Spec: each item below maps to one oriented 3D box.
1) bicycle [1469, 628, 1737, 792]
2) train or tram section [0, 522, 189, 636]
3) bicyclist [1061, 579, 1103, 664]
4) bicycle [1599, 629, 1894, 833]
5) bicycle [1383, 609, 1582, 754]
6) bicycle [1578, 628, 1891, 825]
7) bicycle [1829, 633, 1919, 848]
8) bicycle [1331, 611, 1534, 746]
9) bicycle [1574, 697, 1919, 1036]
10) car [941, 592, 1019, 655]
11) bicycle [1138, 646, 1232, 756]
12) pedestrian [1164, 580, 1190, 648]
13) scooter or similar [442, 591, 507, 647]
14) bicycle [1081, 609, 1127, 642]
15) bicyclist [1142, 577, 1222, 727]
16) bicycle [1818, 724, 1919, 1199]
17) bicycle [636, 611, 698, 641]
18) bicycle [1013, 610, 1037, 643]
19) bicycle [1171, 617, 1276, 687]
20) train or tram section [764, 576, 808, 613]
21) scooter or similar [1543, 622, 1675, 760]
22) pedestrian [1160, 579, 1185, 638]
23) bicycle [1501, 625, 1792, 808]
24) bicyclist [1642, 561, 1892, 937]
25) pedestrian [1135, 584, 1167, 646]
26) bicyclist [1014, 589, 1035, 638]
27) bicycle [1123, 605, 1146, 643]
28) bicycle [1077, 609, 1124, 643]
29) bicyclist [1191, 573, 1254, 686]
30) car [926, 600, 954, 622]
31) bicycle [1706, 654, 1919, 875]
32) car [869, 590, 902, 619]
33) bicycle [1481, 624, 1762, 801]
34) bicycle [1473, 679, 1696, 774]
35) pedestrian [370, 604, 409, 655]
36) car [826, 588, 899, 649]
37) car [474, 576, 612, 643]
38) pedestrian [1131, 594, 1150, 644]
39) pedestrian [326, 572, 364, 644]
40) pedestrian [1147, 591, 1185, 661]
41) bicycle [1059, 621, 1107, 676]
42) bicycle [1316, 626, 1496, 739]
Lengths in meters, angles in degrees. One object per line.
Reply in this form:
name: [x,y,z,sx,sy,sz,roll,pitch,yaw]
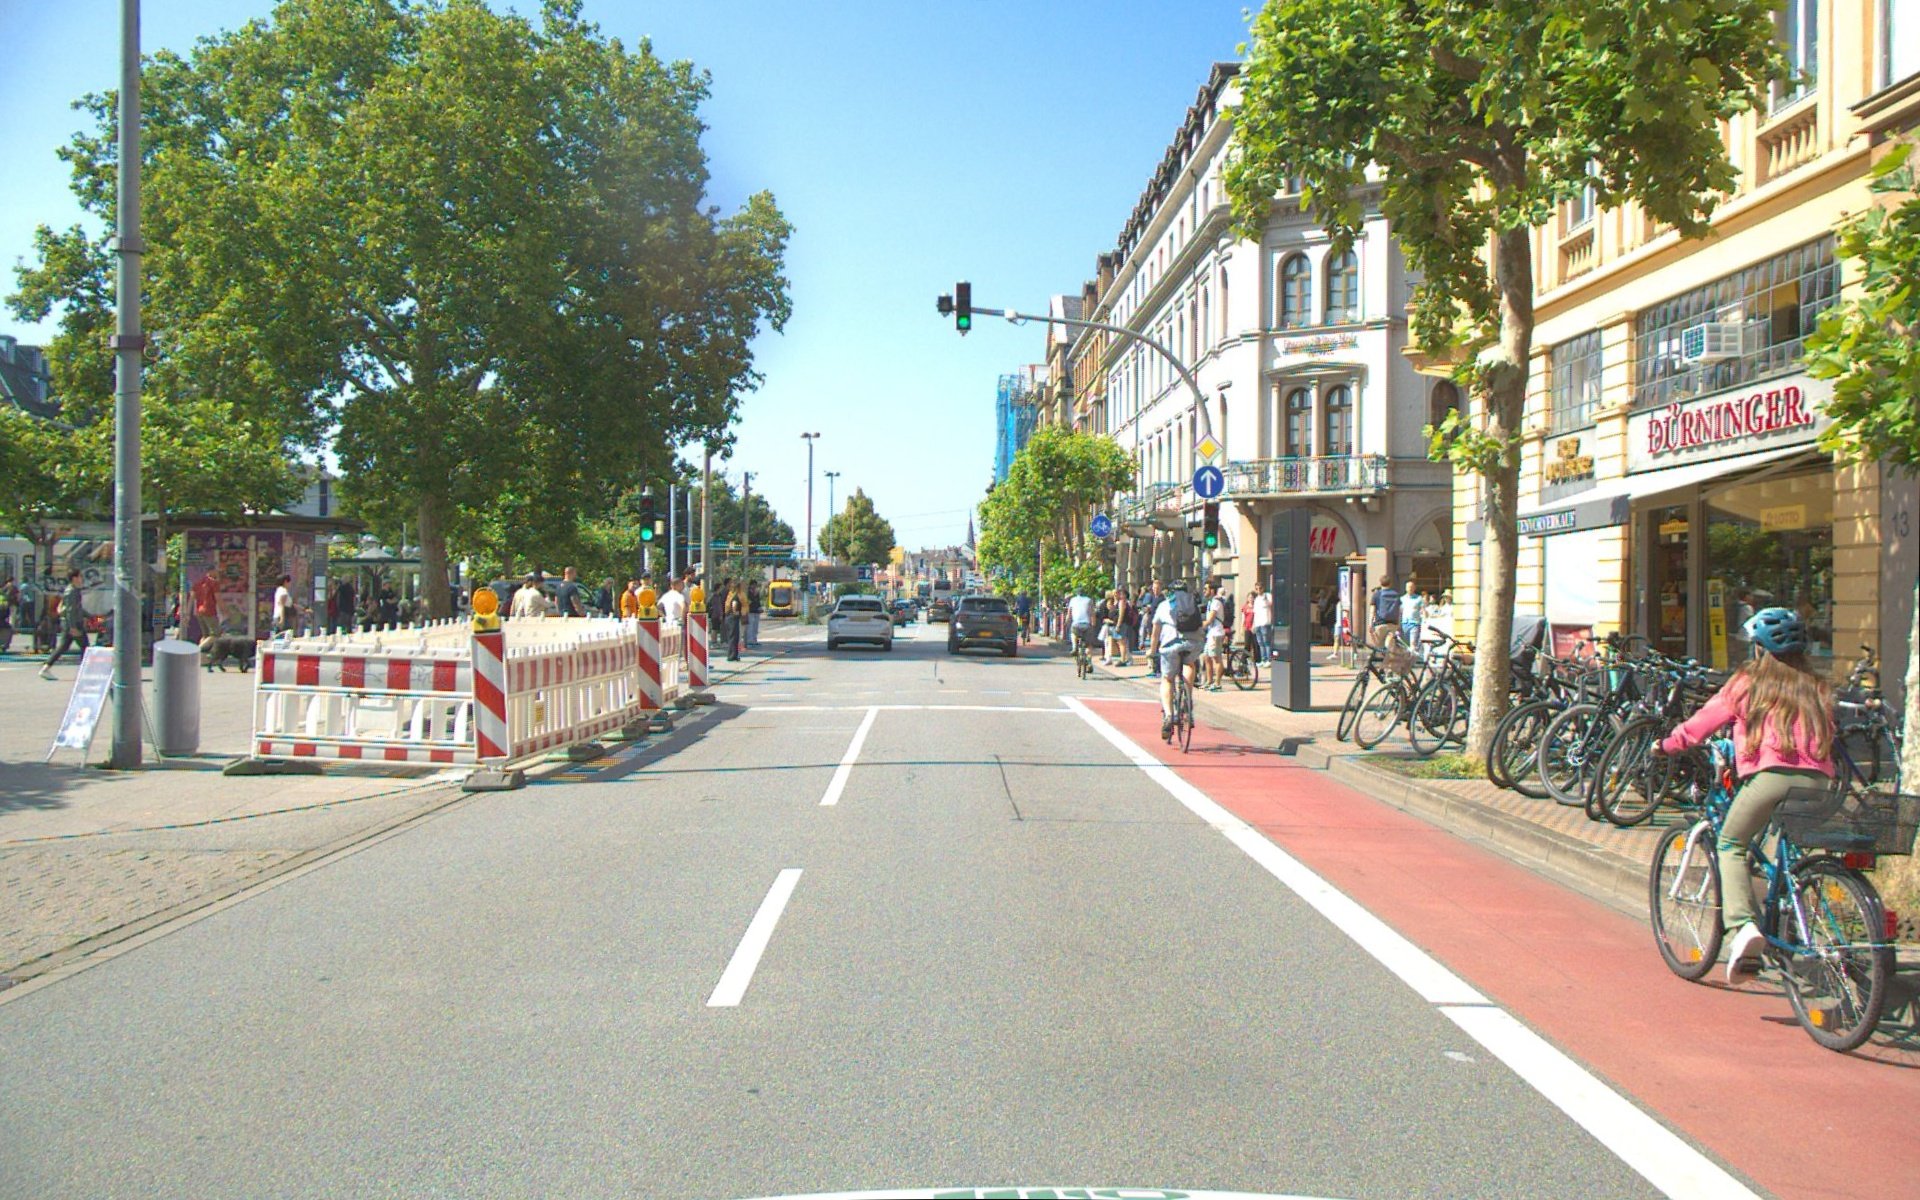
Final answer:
bicycle: [4.935,0.833,12.773,1.806,1.184,0.659,1,0,1]
train or tram section: [-33.462,-0.718,54.477,2.568,3.741,15.495,1,0,34]
bicyclist: [2.432,0.414,32.993,0.758,1.664,0.851,0,0,-1]
bicycle: [4.930,0.810,10.417,1.615,1.222,0.474,1,0,1]
bicycle: [5.041,0.766,15.961,1.795,1.331,0.684,1,0,-22]
bicycle: [5.049,0.812,10.833,1.806,1.222,0.474,1,0,1]
bicycle: [5.915,0.831,10.242,0.462,1.208,1.656,1,0,11]
bicycle: [4.729,0.767,16.552,1.904,1.279,0.701,1,0,-21]
bicycle: [3.124,0.938,6.469,0.588,0.942,2.087,1,1,-2]
car: [0.498,0.602,44.203,1.809,1.586,3.997,0,0,-3]
bicycle: [2.297,1.005,17.078,0.617,0.997,2.088,1,0,-2]
pedestrian: [5.954,0.387,45.385,0.598,1.838,0.677,1,-1,-3]
scooter or similar: [-12.652,0.489,43.093,1.252,1.445,1.037,0,-1,29]
bicycle: [4.483,0.798,51.571,1.391,0.997,0.445,-1,1,-1]
bicyclist: [2.298,0.522,17.211,0.617,1.507,1.198,1,0,-2]
bicycle: [2.784,0.929,3.522,0.684,1.146,2.079,2,0,-4]
bicycle: [-9.903,0.862,55.921,2.046,0.997,0.682,0,-1,-13]
bicycle: [2.119,0.855,54.054,0.634,1.015,2.030,1,0,-1]
bicycle: [4.349,0.843,27.379,0.595,1.101,1.816,-2,0,-35]
train or tram section: [-16.821,-0.513,160.459,2.558,3.407,11.005,1,0,2]
scooter or similar: [6.012,0.821,15.360,0.414,1.198,1.224,1,0,-21]
pedestrian: [6.615,0.253,51.552,0.662,1.823,0.612,1,-1,-1]
bicycle: [4.802,0.804,11.634,1.806,1.222,0.545,1,0,1]
bicyclist: [3.123,0.544,6.457,0.588,1.381,0.720,1,1,-3]
pedestrian: [5.450,0.422,47.214,0.603,1.735,0.671,-1,0,-29]
bicyclist: [2.111,0.447,54.268,0.634,1.578,0.817,1,0,-1]
bicycle: [5.337,0.722,50.537,0.391,1.133,1.425,0,1,20]
bicycle: [4.342,0.800,51.107,1.391,0.997,0.445,-1,1,-1]
bicyclist: [4.340,0.477,27.374,0.569,1.828,0.846,-2,0,-36]
car: [-1.369,0.744,112.810,1.808,1.438,3.999,1,0,-2]
bicycle: [4.961,0.871,8.895,1.615,1.114,0.607,1,0,1]
car: [-4.309,0.245,96.177,1.808,1.587,3.999,1,0,-2]
bicycle: [4.830,0.809,12.141,1.806,1.222,0.608,1,0,1]
bicycle: [5.314,1.057,14.064,1.818,0.728,0.655,1,0,-22]
pedestrian: [-15.059,0.773,43.674,0.619,1.316,0.731,0,-1,20]
car: [-2.629,0.467,45.351,1.808,1.587,3.999,0,0,-1]
car: [-12.986,0.305,51.785,1.820,1.989,4.762,0,0,20]
pedestrian: [6.711,0.694,61.385,0.615,1.823,0.612,1,-1,-1]
pedestrian: [-16.014,0.204,43.064,0.619,1.842,0.615,-3,-2,19]
pedestrian: [5.744,0.727,46.093,0.599,1.835,0.677,-11,0,-3]
bicycle: [2.433,0.949,33.012,0.758,1.023,2.329,0,0,-1]
bicycle: [4.691,0.857,17.432,1.746,1.142,0.562,0,0,-4]
